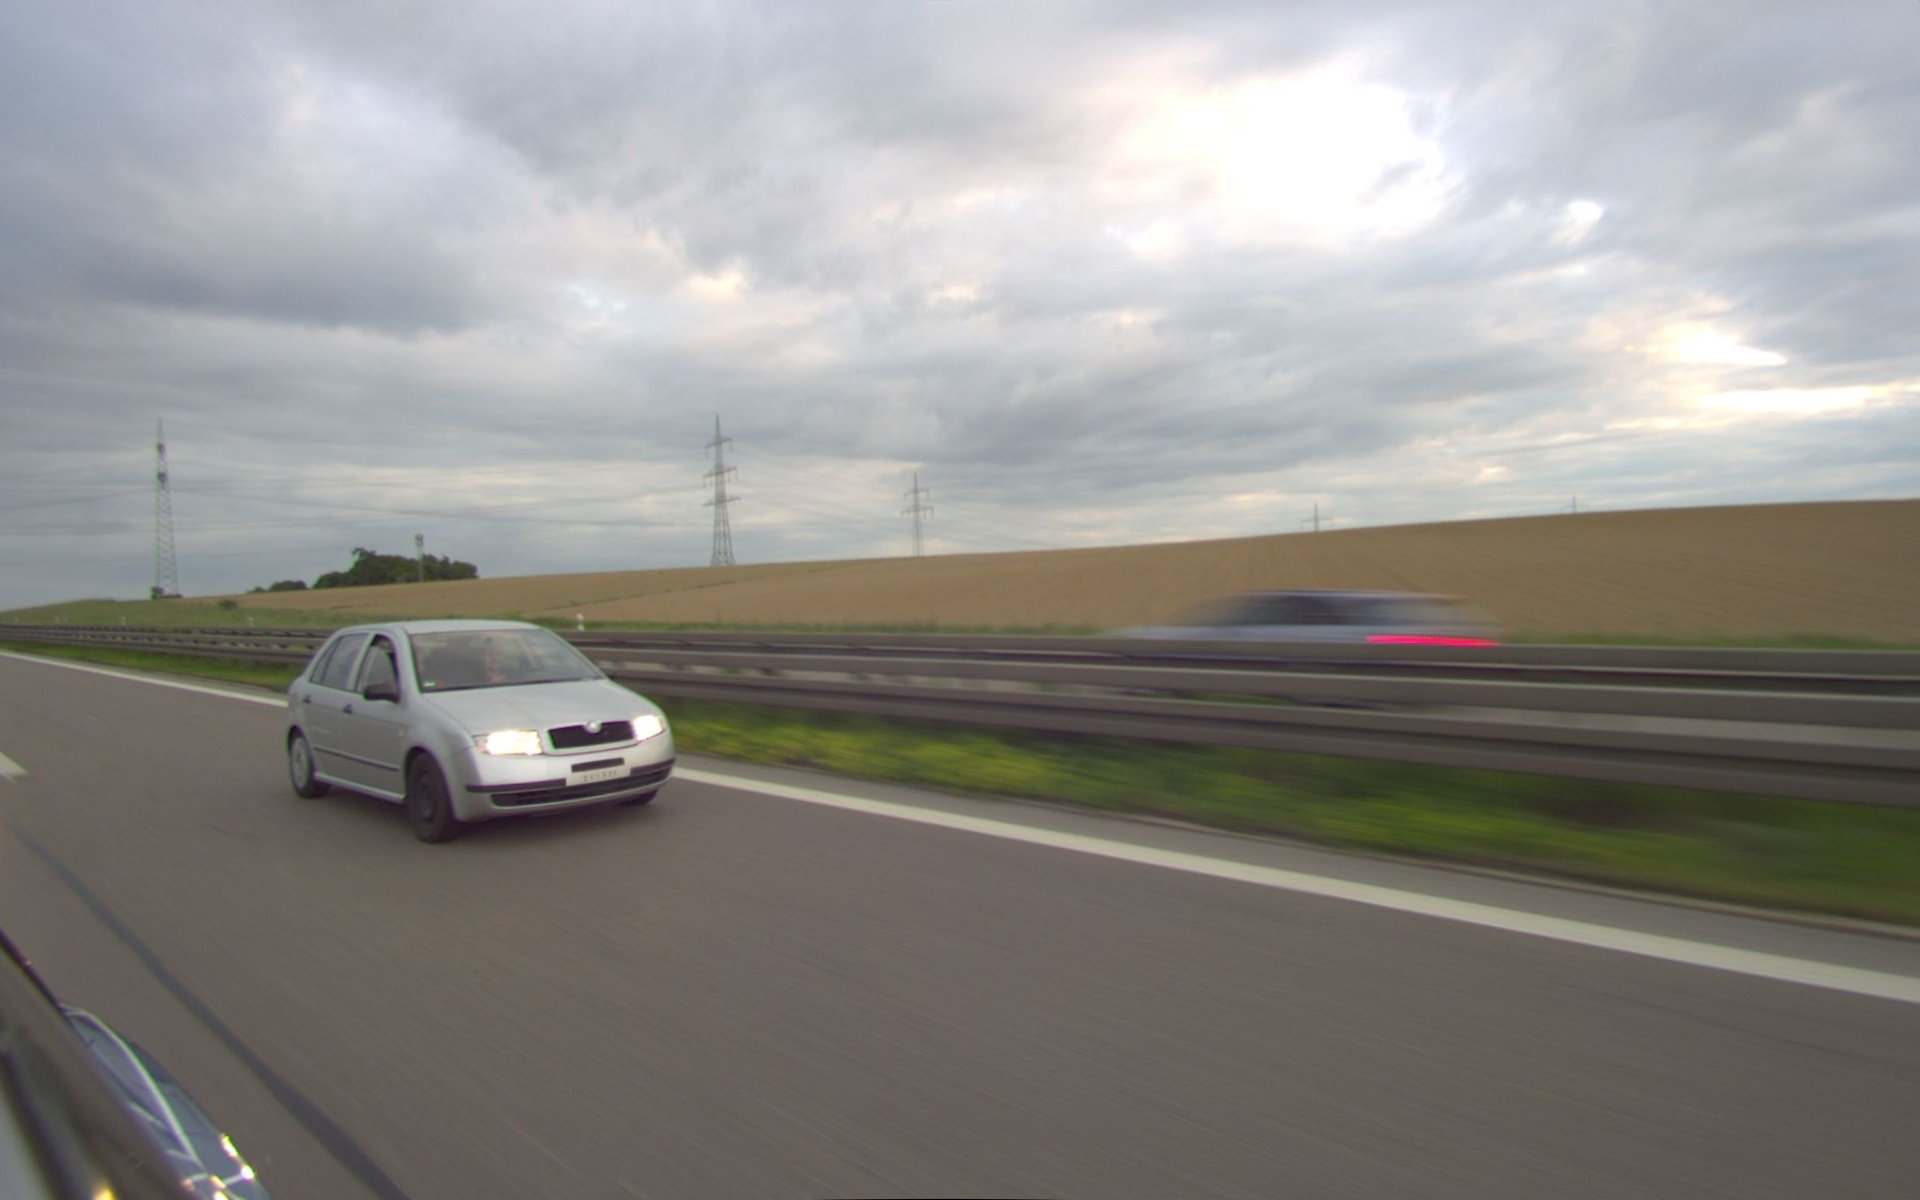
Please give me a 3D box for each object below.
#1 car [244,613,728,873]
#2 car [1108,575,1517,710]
[{"bbox_3d":[-3.817,0.833,7.691,4.598,1.400,1.572,-1,0,41],"label":"car"},{"bbox_3d":[4.271,0.493,12.801,4.618,1.375,1.550,-2,2,42],"label":"car"}]
